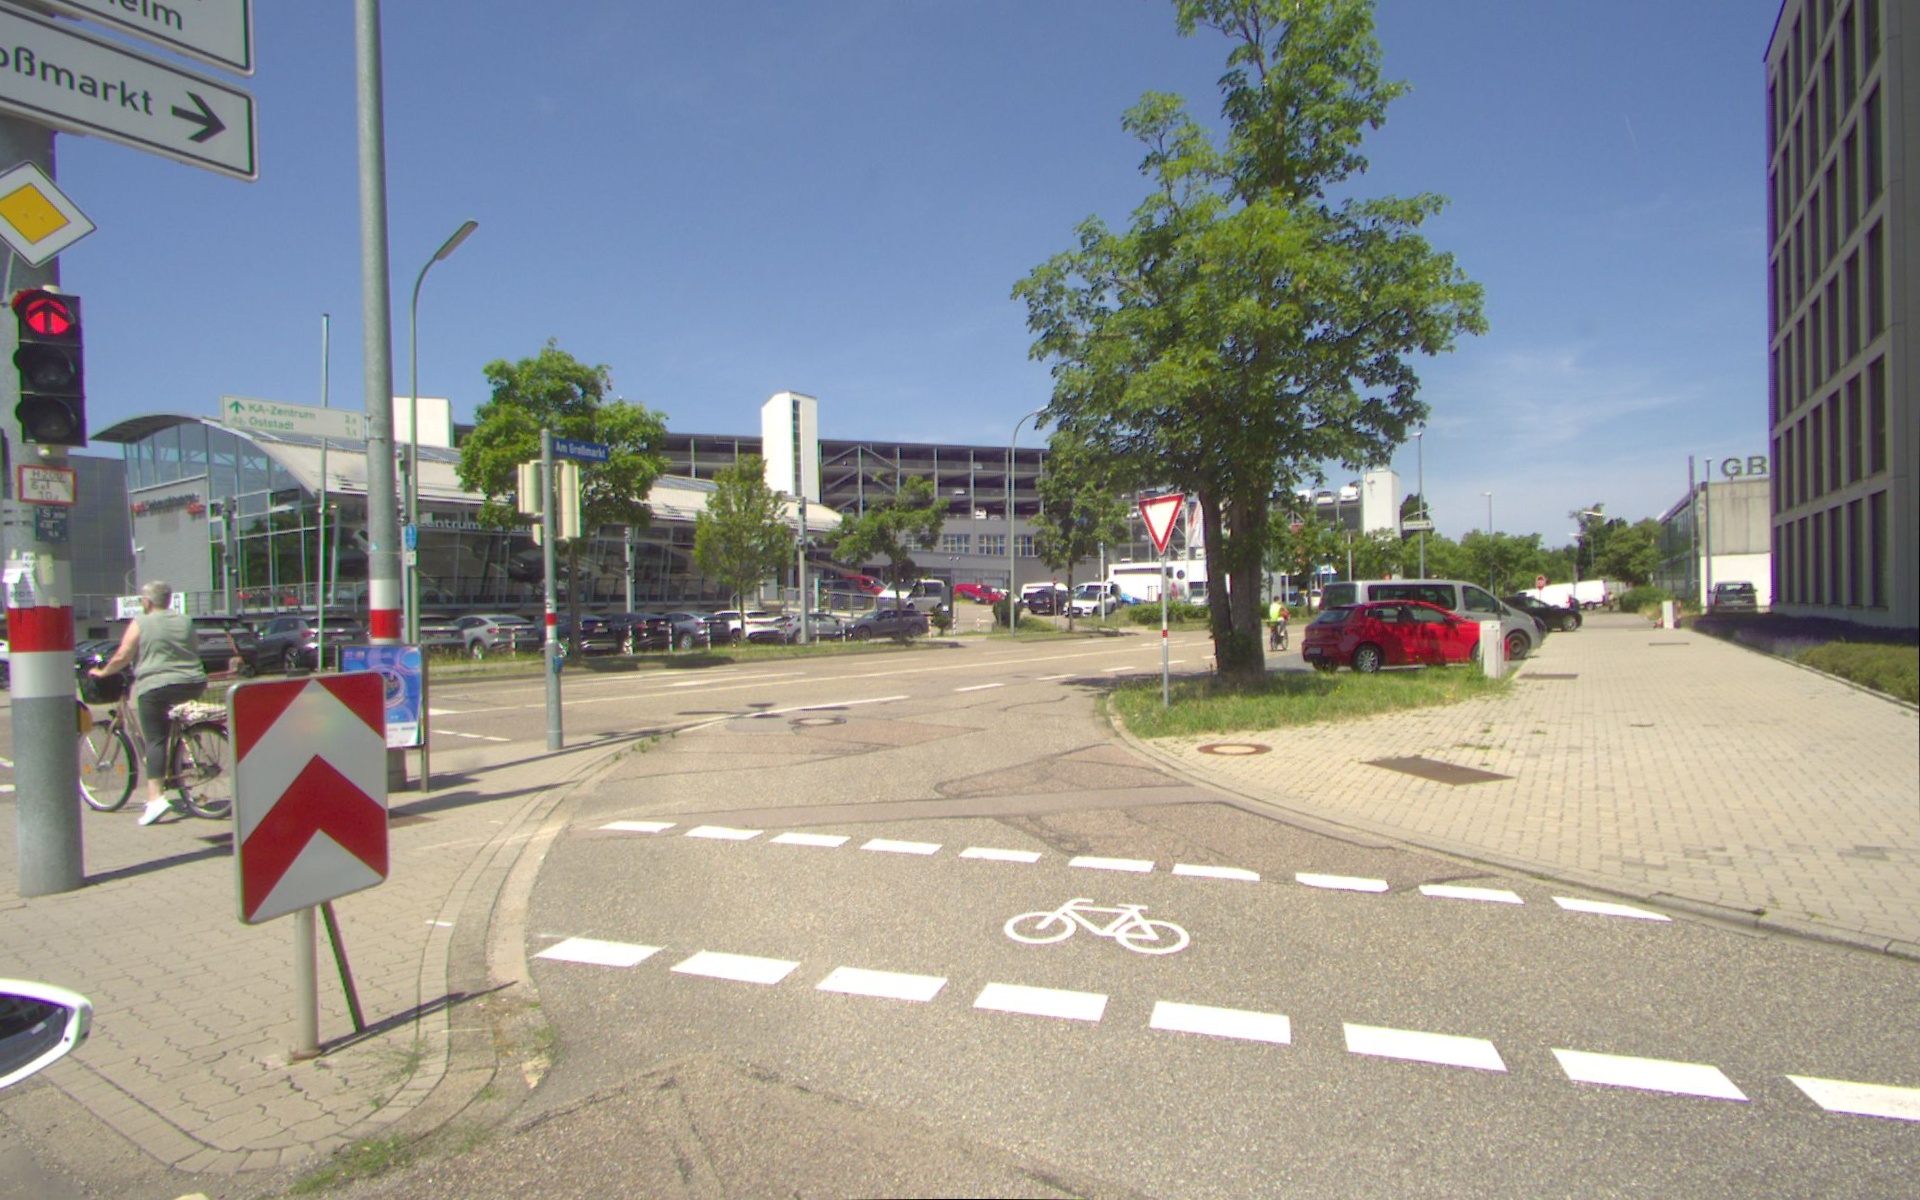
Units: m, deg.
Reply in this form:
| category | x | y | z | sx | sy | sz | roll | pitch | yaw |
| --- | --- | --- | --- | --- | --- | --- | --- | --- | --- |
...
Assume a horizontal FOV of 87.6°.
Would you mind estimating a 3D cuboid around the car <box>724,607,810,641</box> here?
| category | x | y | z | sx | sy | sz | roll | pitch | yaw |
| --- | --- | --- | --- | --- | --- | --- | --- | --- | --- |
| car | -9.943 | 1.215 | 51.613 | 3.938 | 1.591 | 1.842 | -1 | 0 | -28 |

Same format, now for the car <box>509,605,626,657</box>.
| category | x | y | z | sx | sy | sz | roll | pitch | yaw |
| --- | --- | --- | --- | --- | --- | --- | --- | --- | --- |
| car | -13.410 | 1.067 | 34.200 | 3.851 | 1.676 | 1.627 | -1 | -1 | 28 |

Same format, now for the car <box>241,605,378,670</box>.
| category | x | y | z | sx | sy | sz | roll | pitch | yaw |
| --- | --- | --- | --- | --- | --- | --- | --- | --- | --- |
| car | -17.903 | 1.053 | 27.511 | 3.946 | 1.675 | 1.840 | -2 | -3 | 35 |

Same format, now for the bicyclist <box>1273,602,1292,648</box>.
| category | x | y | z | sx | sy | sz | roll | pitch | yaw |
| --- | --- | --- | --- | --- | --- | --- | --- | --- | --- |
| bicyclist | 10.549 | 0.813 | 32.748 | 0.449 | 1.490 | 0.714 | -1 | 1 | 29 |

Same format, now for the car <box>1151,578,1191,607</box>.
| category | x | y | z | sx | sy | sz | roll | pitch | yaw |
| --- | --- | --- | --- | --- | --- | --- | --- | --- | --- |
| car | 16.367 | -0.534 | 77.643 | 1.812 | 2.039 | 3.981 | -1 | -2 | 31 |

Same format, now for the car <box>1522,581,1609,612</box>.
| category | x | y | z | sx | sy | sz | roll | pitch | yaw |
| --- | --- | --- | --- | --- | --- | --- | --- | --- | --- |
| car | 54.598 | -0.301 | 90.410 | 6.606 | 2.552 | 2.206 | -1 | -2 | 35 |

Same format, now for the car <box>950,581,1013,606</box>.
| category | x | y | z | sx | sy | sz | roll | pitch | yaw |
| --- | --- | --- | --- | --- | --- | --- | --- | --- | --- |
| car | 1.657 | -0.492 | 78.010 | 4.525 | 1.821 | 1.903 | -1 | 0 | 34 |

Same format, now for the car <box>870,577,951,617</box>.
| category | x | y | z | sx | sy | sz | roll | pitch | yaw |
| --- | --- | --- | --- | --- | --- | --- | --- | --- | --- |
| car | -2.588 | -0.160 | 54.105 | 1.885 | 1.992 | 5.228 | -1 | 0 | 29 |

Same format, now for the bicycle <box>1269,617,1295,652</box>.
| category | x | y | z | sx | sy | sz | roll | pitch | yaw |
| --- | --- | --- | --- | --- | --- | --- | --- | --- | --- |
| bicycle | 10.497 | 1.123 | 32.650 | 0.462 | 1.079 | 1.782 | -1 | 0 | 29 |

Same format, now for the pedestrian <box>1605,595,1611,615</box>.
| category | x | y | z | sx | sy | sz | roll | pitch | yaw |
| --- | --- | --- | --- | --- | --- | --- | --- | --- | --- |
| pedestrian | 53.109 | 0.414 | 82.037 | 0.399 | 1.580 | 0.546 | -1 | 1 | 33 |

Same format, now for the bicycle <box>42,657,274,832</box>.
| category | x | y | z | sx | sy | sz | roll | pitch | yaw |
| --- | --- | --- | --- | --- | --- | --- | --- | --- | --- |
| bicycle | -6.094 | 1.035 | 7.590 | 1.864 | 1.148 | 0.628 | 0 | -1 | 26 |

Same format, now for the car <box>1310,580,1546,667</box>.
| category | x | y | z | sx | sy | sz | roll | pitch | yaw |
| --- | --- | --- | --- | --- | --- | --- | --- | --- | --- |
| car | 10.887 | 0.513 | 23.388 | 4.841 | 1.911 | 1.918 | 0 | 0 | -12 |

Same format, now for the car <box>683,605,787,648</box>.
| category | x | y | z | sx | sy | sz | roll | pitch | yaw |
| --- | --- | --- | --- | --- | --- | --- | --- | --- | --- |
| car | -9.241 | 1.130 | 41.164 | 3.937 | 1.675 | 1.844 | -1 | -3 | 28 |

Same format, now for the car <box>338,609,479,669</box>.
| category | x | y | z | sx | sy | sz | roll | pitch | yaw |
| --- | --- | --- | --- | --- | --- | --- | --- | --- | --- |
| car | -16.522 | 1.183 | 29.989 | 3.937 | 1.675 | 1.844 | -1 | -3 | 28 |

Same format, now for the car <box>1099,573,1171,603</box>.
| category | x | y | z | sx | sy | sz | roll | pitch | yaw |
| --- | --- | --- | --- | --- | --- | --- | --- | --- | --- |
| car | 12.012 | -0.780 | 68.856 | 4.521 | 1.912 | 1.904 | -1 | 0 | 31 |

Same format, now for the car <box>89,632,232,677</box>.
| category | x | y | z | sx | sy | sz | roll | pitch | yaw |
| --- | --- | --- | --- | --- | --- | --- | --- | --- | --- |
| car | -30.709 | 2.074 | 38.571 | 1.633 | 1.642 | 3.980 | -1 | -3 | 32 |

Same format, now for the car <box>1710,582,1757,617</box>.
| category | x | y | z | sx | sy | sz | roll | pitch | yaw |
| --- | --- | --- | --- | --- | --- | --- | --- | --- | --- |
| car | 42.216 | 0.016 | 54.731 | 1.772 | 1.750 | 3.978 | -1 | -2 | 34 |

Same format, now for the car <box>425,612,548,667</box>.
| category | x | y | z | sx | sy | sz | roll | pitch | yaw |
| --- | --- | --- | --- | --- | --- | --- | --- | --- | --- |
| car | -15.044 | 1.204 | 31.802 | 3.758 | 1.637 | 1.635 | 0 | 0 | 28 |

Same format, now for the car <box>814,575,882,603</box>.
| category | x | y | z | sx | sy | sz | roll | pitch | yaw |
| --- | --- | --- | --- | --- | --- | --- | --- | --- | --- |
| car | -7.380 | -0.711 | 66.066 | 4.082 | 1.745 | 1.907 | -1 | 0 | 25 |

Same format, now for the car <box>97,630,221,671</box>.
| category | x | y | z | sx | sy | sz | roll | pitch | yaw |
| --- | --- | --- | --- | --- | --- | --- | --- | --- | --- |
| car | -32.928 | 2.087 | 41.249 | 1.619 | 1.600 | 3.642 | -1 | -3 | 32 |

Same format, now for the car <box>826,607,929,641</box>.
| category | x | y | z | sx | sy | sz | roll | pitch | yaw |
| --- | --- | --- | --- | --- | --- | --- | --- | --- | --- |
| car | -3.900 | 1.095 | 47.677 | 4.554 | 1.491 | 1.839 | -1 | 0 | -34 |

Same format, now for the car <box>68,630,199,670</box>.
| category | x | y | z | sx | sy | sz | roll | pitch | yaw |
| --- | --- | --- | --- | --- | --- | --- | --- | --- | --- |
| car | -34.803 | 2.109 | 42.276 | 1.610 | 1.593 | 3.977 | -1 | -3 | 32 |

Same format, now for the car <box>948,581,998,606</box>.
| category | x | y | z | sx | sy | sz | roll | pitch | yaw |
| --- | --- | --- | --- | --- | --- | --- | --- | --- | --- |
| car | 0.991 | -0.447 | 74.526 | 1.859 | 1.728 | 3.977 | -1 | -1 | 33 |

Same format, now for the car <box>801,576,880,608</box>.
| category | x | y | z | sx | sy | sz | roll | pitch | yaw |
| --- | --- | --- | --- | --- | --- | --- | --- | --- | --- |
| car | -6.725 | -0.427 | 56.647 | 1.888 | 1.730 | 4.560 | -1 | 0 | 35 |

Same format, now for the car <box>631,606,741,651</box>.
| category | x | y | z | sx | sy | sz | roll | pitch | yaw |
| --- | --- | --- | --- | --- | --- | --- | --- | --- | --- |
| car | -10.644 | 1.127 | 38.916 | 3.937 | 1.675 | 1.844 | -1 | -3 | 28 |

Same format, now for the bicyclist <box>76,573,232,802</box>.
| category | x | y | z | sx | sy | sz | roll | pitch | yaw |
| --- | --- | --- | --- | --- | --- | --- | --- | --- | --- |
| bicyclist | -6.106 | 0.639 | 7.599 | 0.812 | 1.626 | 0.628 | -1 | -1 | 26 |

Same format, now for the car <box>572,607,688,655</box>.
| category | x | y | z | sx | sy | sz | roll | pitch | yaw |
| --- | --- | --- | --- | --- | --- | --- | --- | --- | --- |
| car | -12.082 | 1.174 | 36.611 | 3.937 | 1.675 | 1.844 | -1 | -3 | 28 |

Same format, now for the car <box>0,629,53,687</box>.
| category | x | y | z | sx | sy | sz | roll | pitch | yaw |
| --- | --- | --- | --- | --- | --- | --- | --- | --- | --- |
| car | -25.136 | 1.401 | 24.108 | 1.843 | 1.407 | 4.583 | -2 | -3 | 34 |

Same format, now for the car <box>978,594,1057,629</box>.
| category | x | y | z | sx | sy | sz | roll | pitch | yaw |
| --- | --- | --- | --- | --- | --- | --- | --- | --- | --- |
| car | 2.942 | 0.555 | 50.344 | 1.888 | 1.717 | 4.560 | -1 | 0 | 35 |

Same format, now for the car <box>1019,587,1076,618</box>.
| category | x | y | z | sx | sy | sz | roll | pitch | yaw |
| --- | --- | --- | --- | --- | --- | --- | --- | --- | --- |
| car | 5.380 | 0.181 | 61.223 | 1.970 | 1.727 | 3.983 | -1 | -2 | 30 |

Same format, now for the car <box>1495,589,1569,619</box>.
| category | x | y | z | sx | sy | sz | roll | pitch | yaw |
| --- | --- | --- | --- | --- | --- | --- | --- | --- | --- |
| car | 41.498 | 0.303 | 72.689 | 4.513 | 2.039 | 1.990 | -1 | -2 | 33 |

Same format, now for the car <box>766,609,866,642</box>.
| category | x | y | z | sx | sy | sz | roll | pitch | yaw |
| --- | --- | --- | --- | --- | --- | --- | --- | --- | --- |
| car | -7.106 | 1.251 | 49.604 | 4.527 | 1.491 | 1.902 | -1 | 0 | -34 |

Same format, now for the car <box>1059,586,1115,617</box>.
| category | x | y | z | sx | sy | sz | roll | pitch | yaw |
| --- | --- | --- | --- | --- | --- | --- | --- | --- | --- |
| car | 7.660 | 0.139 | 60.199 | 1.970 | 1.727 | 3.983 | -1 | -2 | 30 |

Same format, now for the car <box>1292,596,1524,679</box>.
| category | x | y | z | sx | sy | sz | roll | pitch | yaw |
| --- | --- | --- | --- | --- | --- | --- | --- | --- | --- |
| car | 8.946 | 0.727 | 20.155 | 3.923 | 1.451 | 1.699 | -2 | -1 | -7 |

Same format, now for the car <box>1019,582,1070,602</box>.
| category | x | y | z | sx | sy | sz | roll | pitch | yaw |
| --- | --- | --- | --- | --- | --- | --- | --- | --- | --- |
| car | 7.807 | -0.740 | 92.296 | 4.294 | 1.674 | 1.904 | -1 | 0 | 31 |

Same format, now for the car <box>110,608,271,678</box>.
| category | x | y | z | sx | sy | sz | roll | pitch | yaw |
| --- | --- | --- | --- | --- | --- | --- | --- | --- | --- |
| car | -19.516 | 1.110 | 25.342 | 4.442 | 1.578 | 1.863 | -3 | 0 | 33 |
